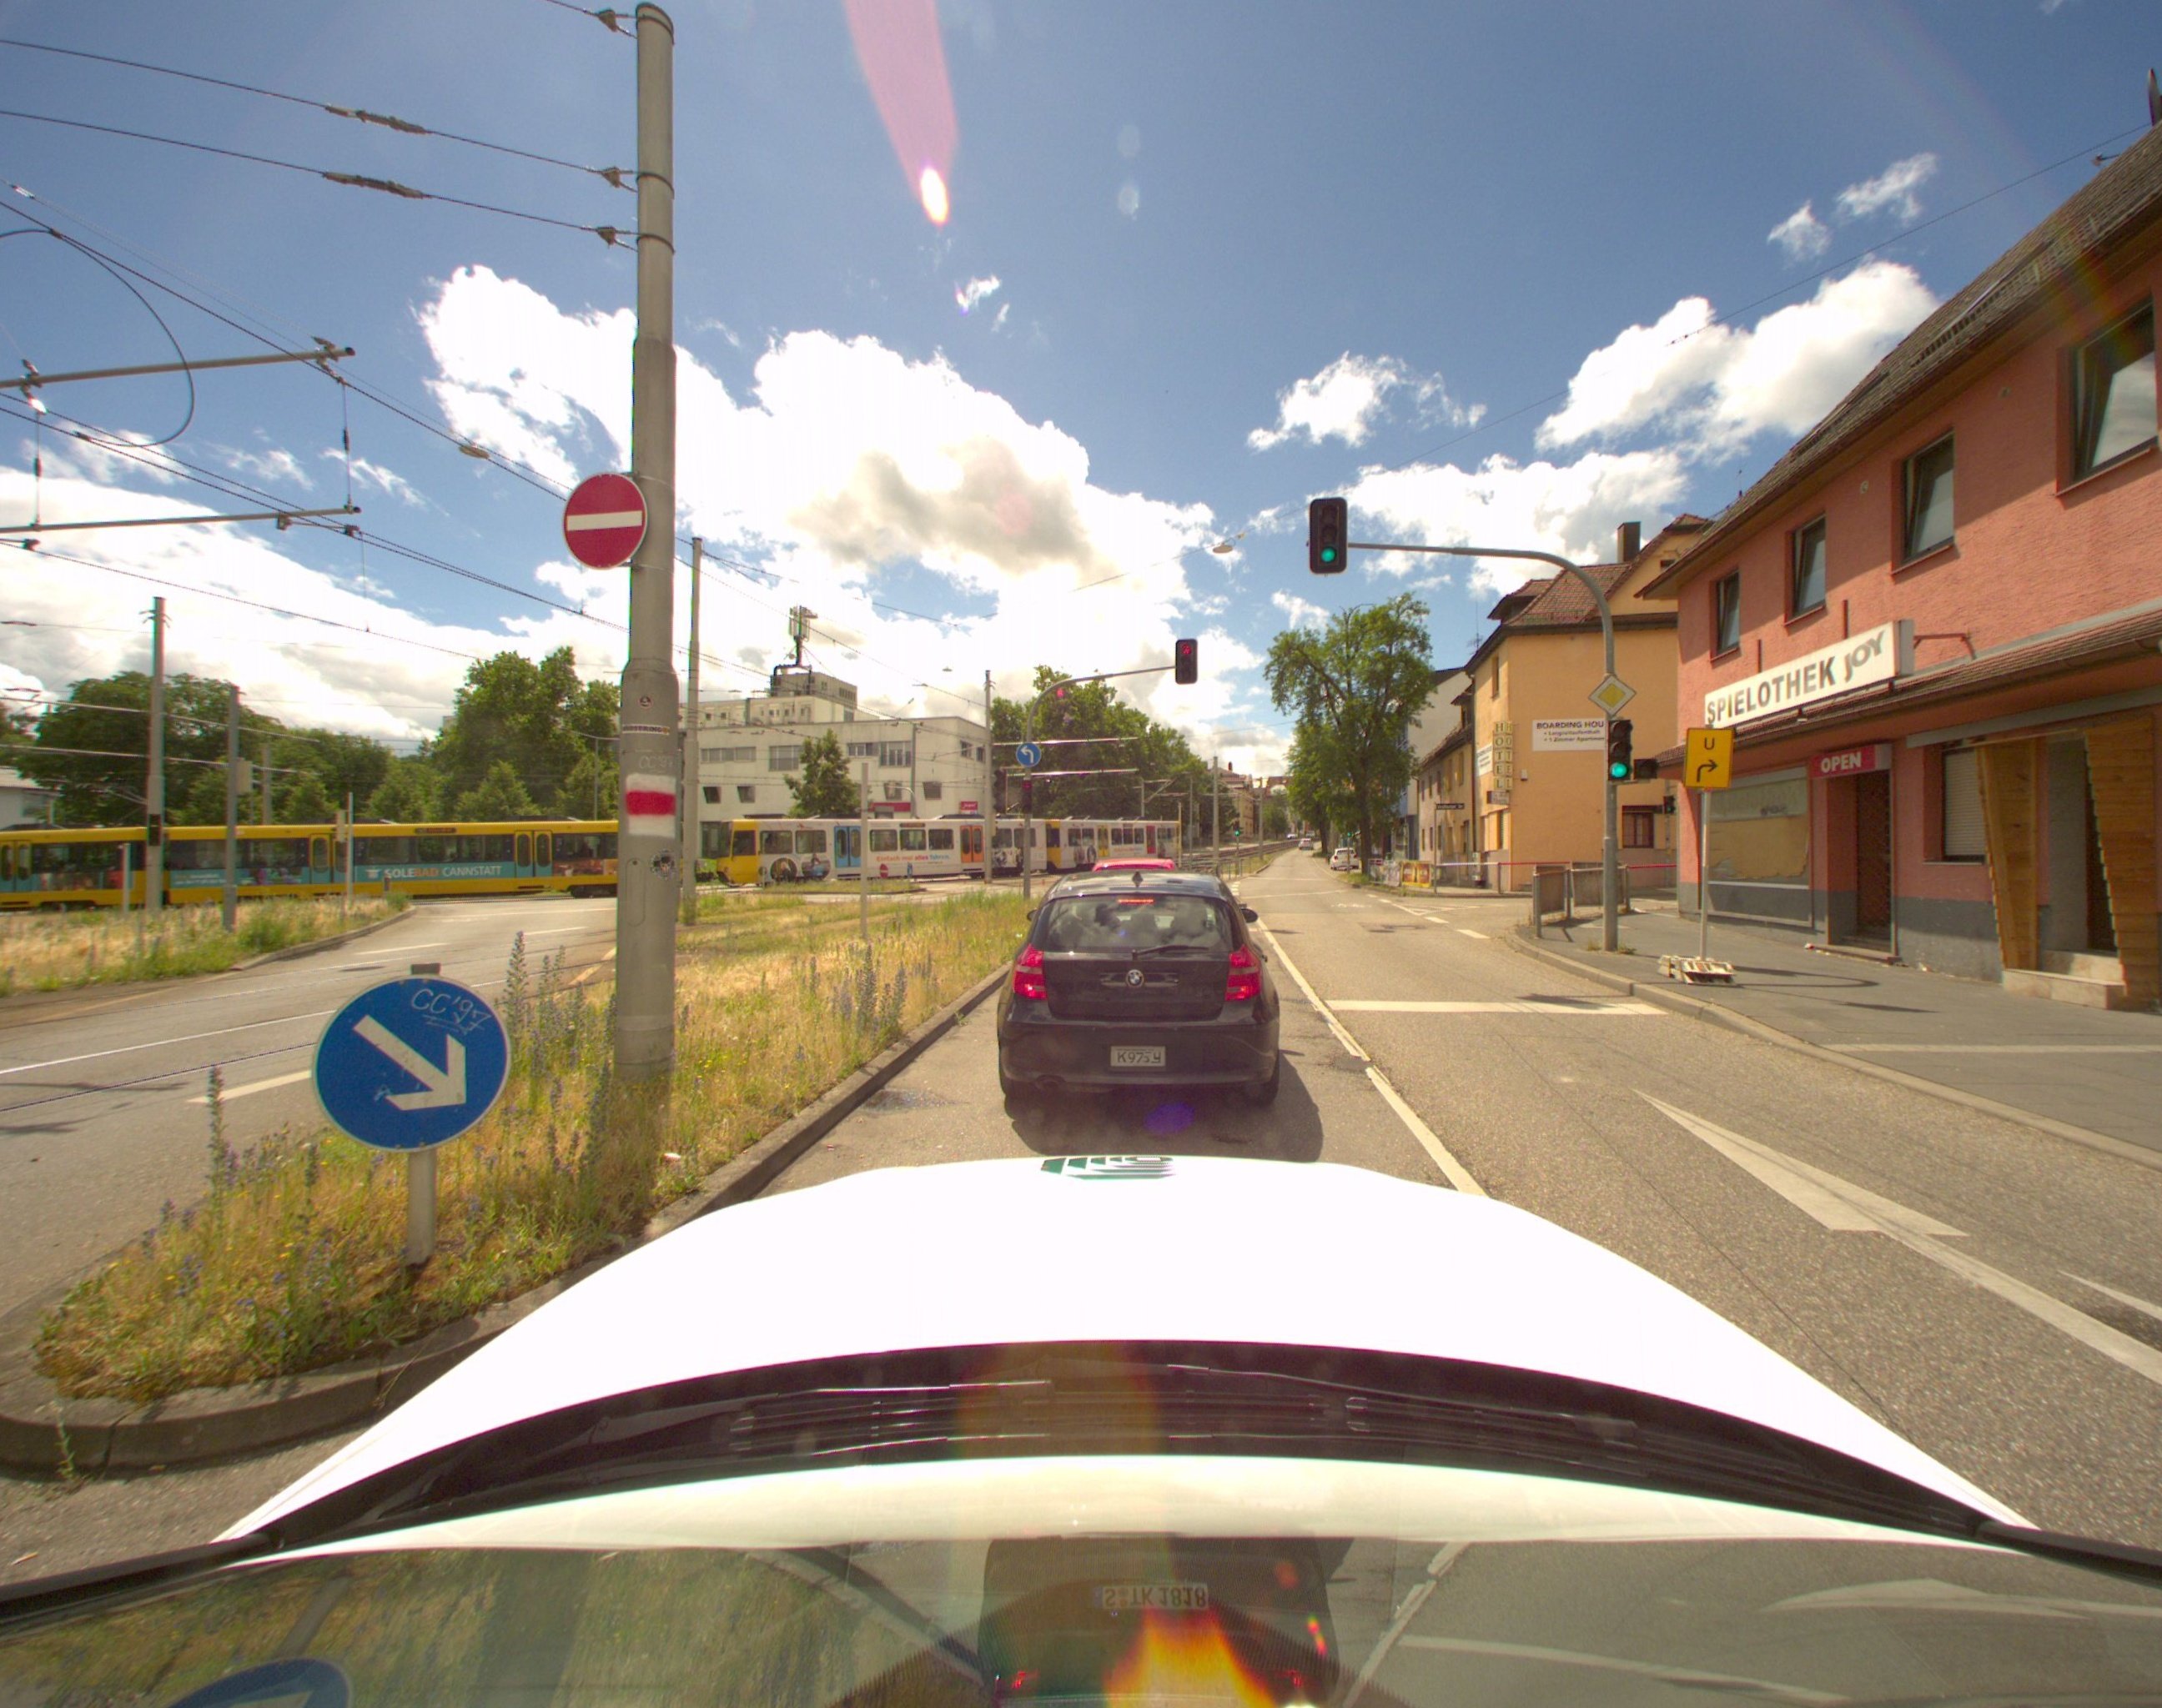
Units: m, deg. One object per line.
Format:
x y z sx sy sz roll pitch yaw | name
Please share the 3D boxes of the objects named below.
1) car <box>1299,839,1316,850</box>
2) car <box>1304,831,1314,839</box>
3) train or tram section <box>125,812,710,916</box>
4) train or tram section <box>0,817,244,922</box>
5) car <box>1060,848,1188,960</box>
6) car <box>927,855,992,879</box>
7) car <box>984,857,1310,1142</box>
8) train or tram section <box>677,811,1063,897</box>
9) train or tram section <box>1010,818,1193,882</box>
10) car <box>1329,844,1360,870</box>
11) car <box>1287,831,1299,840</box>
31.225 -1.286 112.107 1.799 1.468 4.021 -1 0 21 | car
57.685 -4.798 206.024 1.976 2.014 4.022 -2 -1 23 | car
-27.667 0.295 35.947 20.121 3.829 3.741 -1 -1 -16 | train or tram section
-45.880 0.826 34.165 18.746 3.919 3.766 -2 -1 4 | train or tram section
0.831 0.698 12.917 1.616 1.473 4.009 -2 -1 8 | car
-8.465 0.883 56.950 4.191 1.585 1.837 -1 -1 -41 | car
0.342 0.796 6.320 1.696 1.452 3.999 -2 -1 0 | car
-10.354 -0.072 44.599 20.738 3.879 3.718 -1 -1 -39 | train or tram section
2.369 -0.236 59.122 3.713 3.814 20.177 -2 -1 31 | train or tram section
17.960 0.217 55.571 1.774 1.596 4.016 -2 -1 15 | car
48.649 -4.257 186.919 1.976 2.014 4.022 -2 -1 23 | car
